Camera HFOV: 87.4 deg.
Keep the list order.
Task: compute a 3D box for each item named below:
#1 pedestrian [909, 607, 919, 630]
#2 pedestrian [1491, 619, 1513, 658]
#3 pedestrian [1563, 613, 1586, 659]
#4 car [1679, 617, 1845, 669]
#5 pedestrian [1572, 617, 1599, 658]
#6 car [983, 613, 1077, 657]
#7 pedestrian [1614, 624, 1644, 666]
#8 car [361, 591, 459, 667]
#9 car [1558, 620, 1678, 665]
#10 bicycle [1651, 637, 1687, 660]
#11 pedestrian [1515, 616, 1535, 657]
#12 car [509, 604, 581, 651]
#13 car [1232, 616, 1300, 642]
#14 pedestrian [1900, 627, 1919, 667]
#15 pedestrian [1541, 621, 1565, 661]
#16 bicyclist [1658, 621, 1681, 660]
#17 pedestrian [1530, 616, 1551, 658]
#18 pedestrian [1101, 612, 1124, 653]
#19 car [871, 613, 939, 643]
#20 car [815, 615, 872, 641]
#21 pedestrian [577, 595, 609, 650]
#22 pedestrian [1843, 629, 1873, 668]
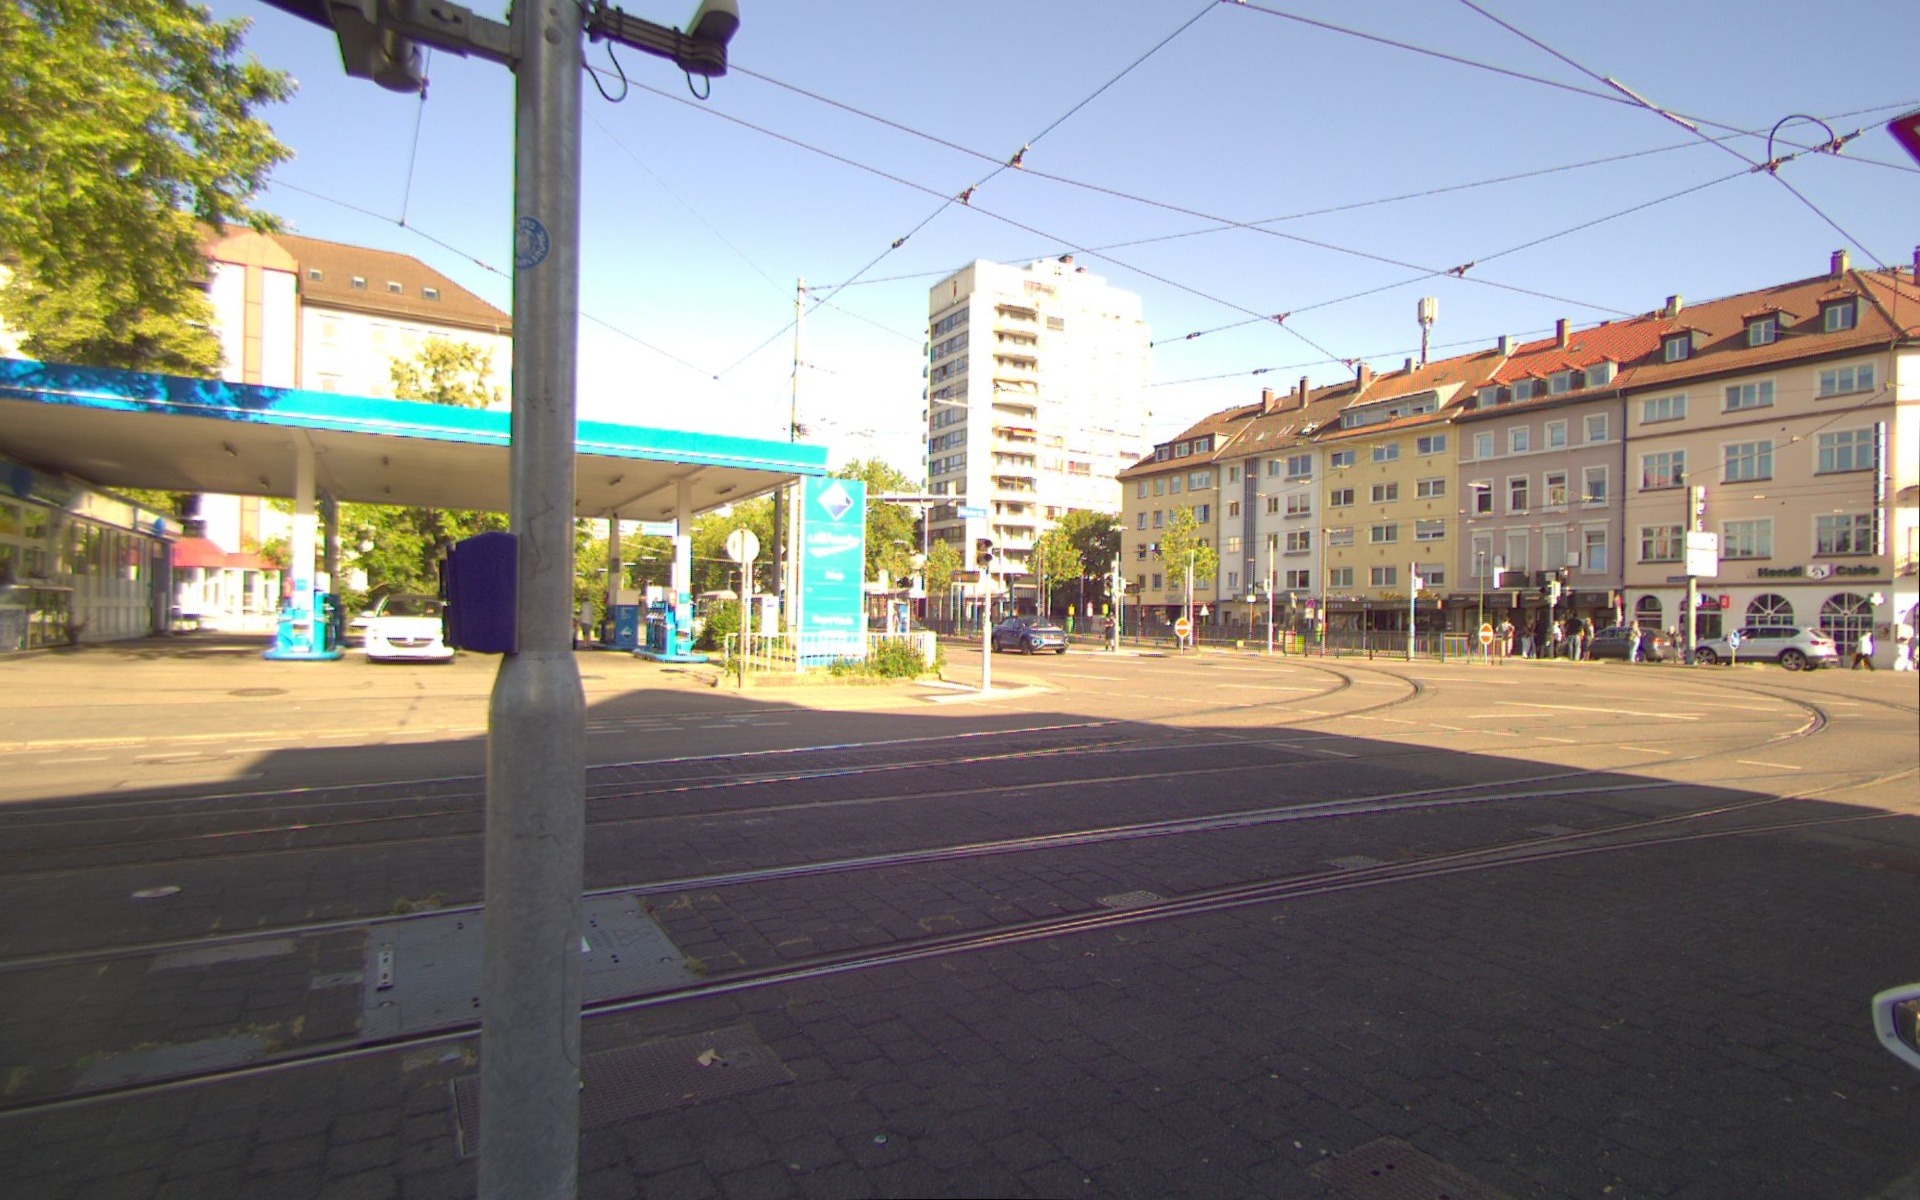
[{"bbox_3d":[-4.295,1.705,93.875,0.729,2.127,0.880,2,0,-21],"label":"pedestrian"},{"bbox_3d":[23.851,1.701,44.167,0.609,1.670,0.581,2,0,-30],"label":"pedestrian"},{"bbox_3d":[24.831,1.444,40.583,0.669,1.847,0.524,2,0,-30],"label":"pedestrian"},{"bbox_3d":[30.750,1.612,38.658,1.818,1.757,4.643,2,0,-35],"label":"car"},{"bbox_3d":[25.589,1.537,41.072,0.831,1.670,0.579,2,0,-30],"label":"pedestrian"},{"bbox_3d":[2.732,1.363,40.264,1.809,1.596,4.168,1,0,-28],"label":"car"},{"bbox_3d":[26.384,1.774,39.599,0.805,1.615,0.665,2,0,-30],"label":"pedestrian"},{"bbox_3d":[-12.224,0.591,22.348,1.723,1.455,3.905,2,1,-29],"label":"car"},{"bbox_3d":[29.902,1.900,45.791,1.797,1.797,4.208,2,0,-30],"label":"car"},{"bbox_3d":[33.956,2.337,48.100,1.731,1.044,0.619,2,0,-25],"label":"bicycle"},{"bbox_3d":[23.480,1.508,41.717,0.492,1.670,0.520,2,0,-30],"label":"pedestrian"},{"bbox_3d":[-13.526,0.858,32.639,1.659,1.372,3.559,2,0,-31],"label":"car"},{"bbox_3d":[18.416,1.748,60.626,1.680,1.421,3.769,2,0,-31],"label":"car"},{"bbox_3d":[41.725,2.054,44.002,0.489,1.698,0.587,2,0,-13],"label":"pedestrian"},{"bbox_3d":[25.017,1.735,42.403,0.719,1.670,0.570,2,0,-30],"label":"pedestrian"},{"bbox_3d":[33.985,1.949,48.112,0.606,1.814,0.619,2,0,-25],"label":"bicyclist"},{"bbox_3d":[23.771,1.514,41.127,0.492,1.670,0.520,2,0,-30],"label":"pedestrian"},{"bbox_3d":[6.294,1.327,41.392,0.752,1.631,0.612,2,0,-11],"label":"pedestrian"},{"bbox_3d":[-2.878,1.426,51.833,1.811,1.422,3.965,1,-1,-32],"label":"car"},{"bbox_3d":[-7.010,1.650,60.026,1.877,1.473,3.974,1,-1,-32],"label":"car"},{"bbox_3d":[-11.764,0.723,32.184,0.838,1.724,0.644,2,-3,-31],"label":"pedestrian"},{"bbox_3d":[38.991,2.092,43.618,0.778,1.664,0.569,2,0,-6],"label":"pedestrian"}]
